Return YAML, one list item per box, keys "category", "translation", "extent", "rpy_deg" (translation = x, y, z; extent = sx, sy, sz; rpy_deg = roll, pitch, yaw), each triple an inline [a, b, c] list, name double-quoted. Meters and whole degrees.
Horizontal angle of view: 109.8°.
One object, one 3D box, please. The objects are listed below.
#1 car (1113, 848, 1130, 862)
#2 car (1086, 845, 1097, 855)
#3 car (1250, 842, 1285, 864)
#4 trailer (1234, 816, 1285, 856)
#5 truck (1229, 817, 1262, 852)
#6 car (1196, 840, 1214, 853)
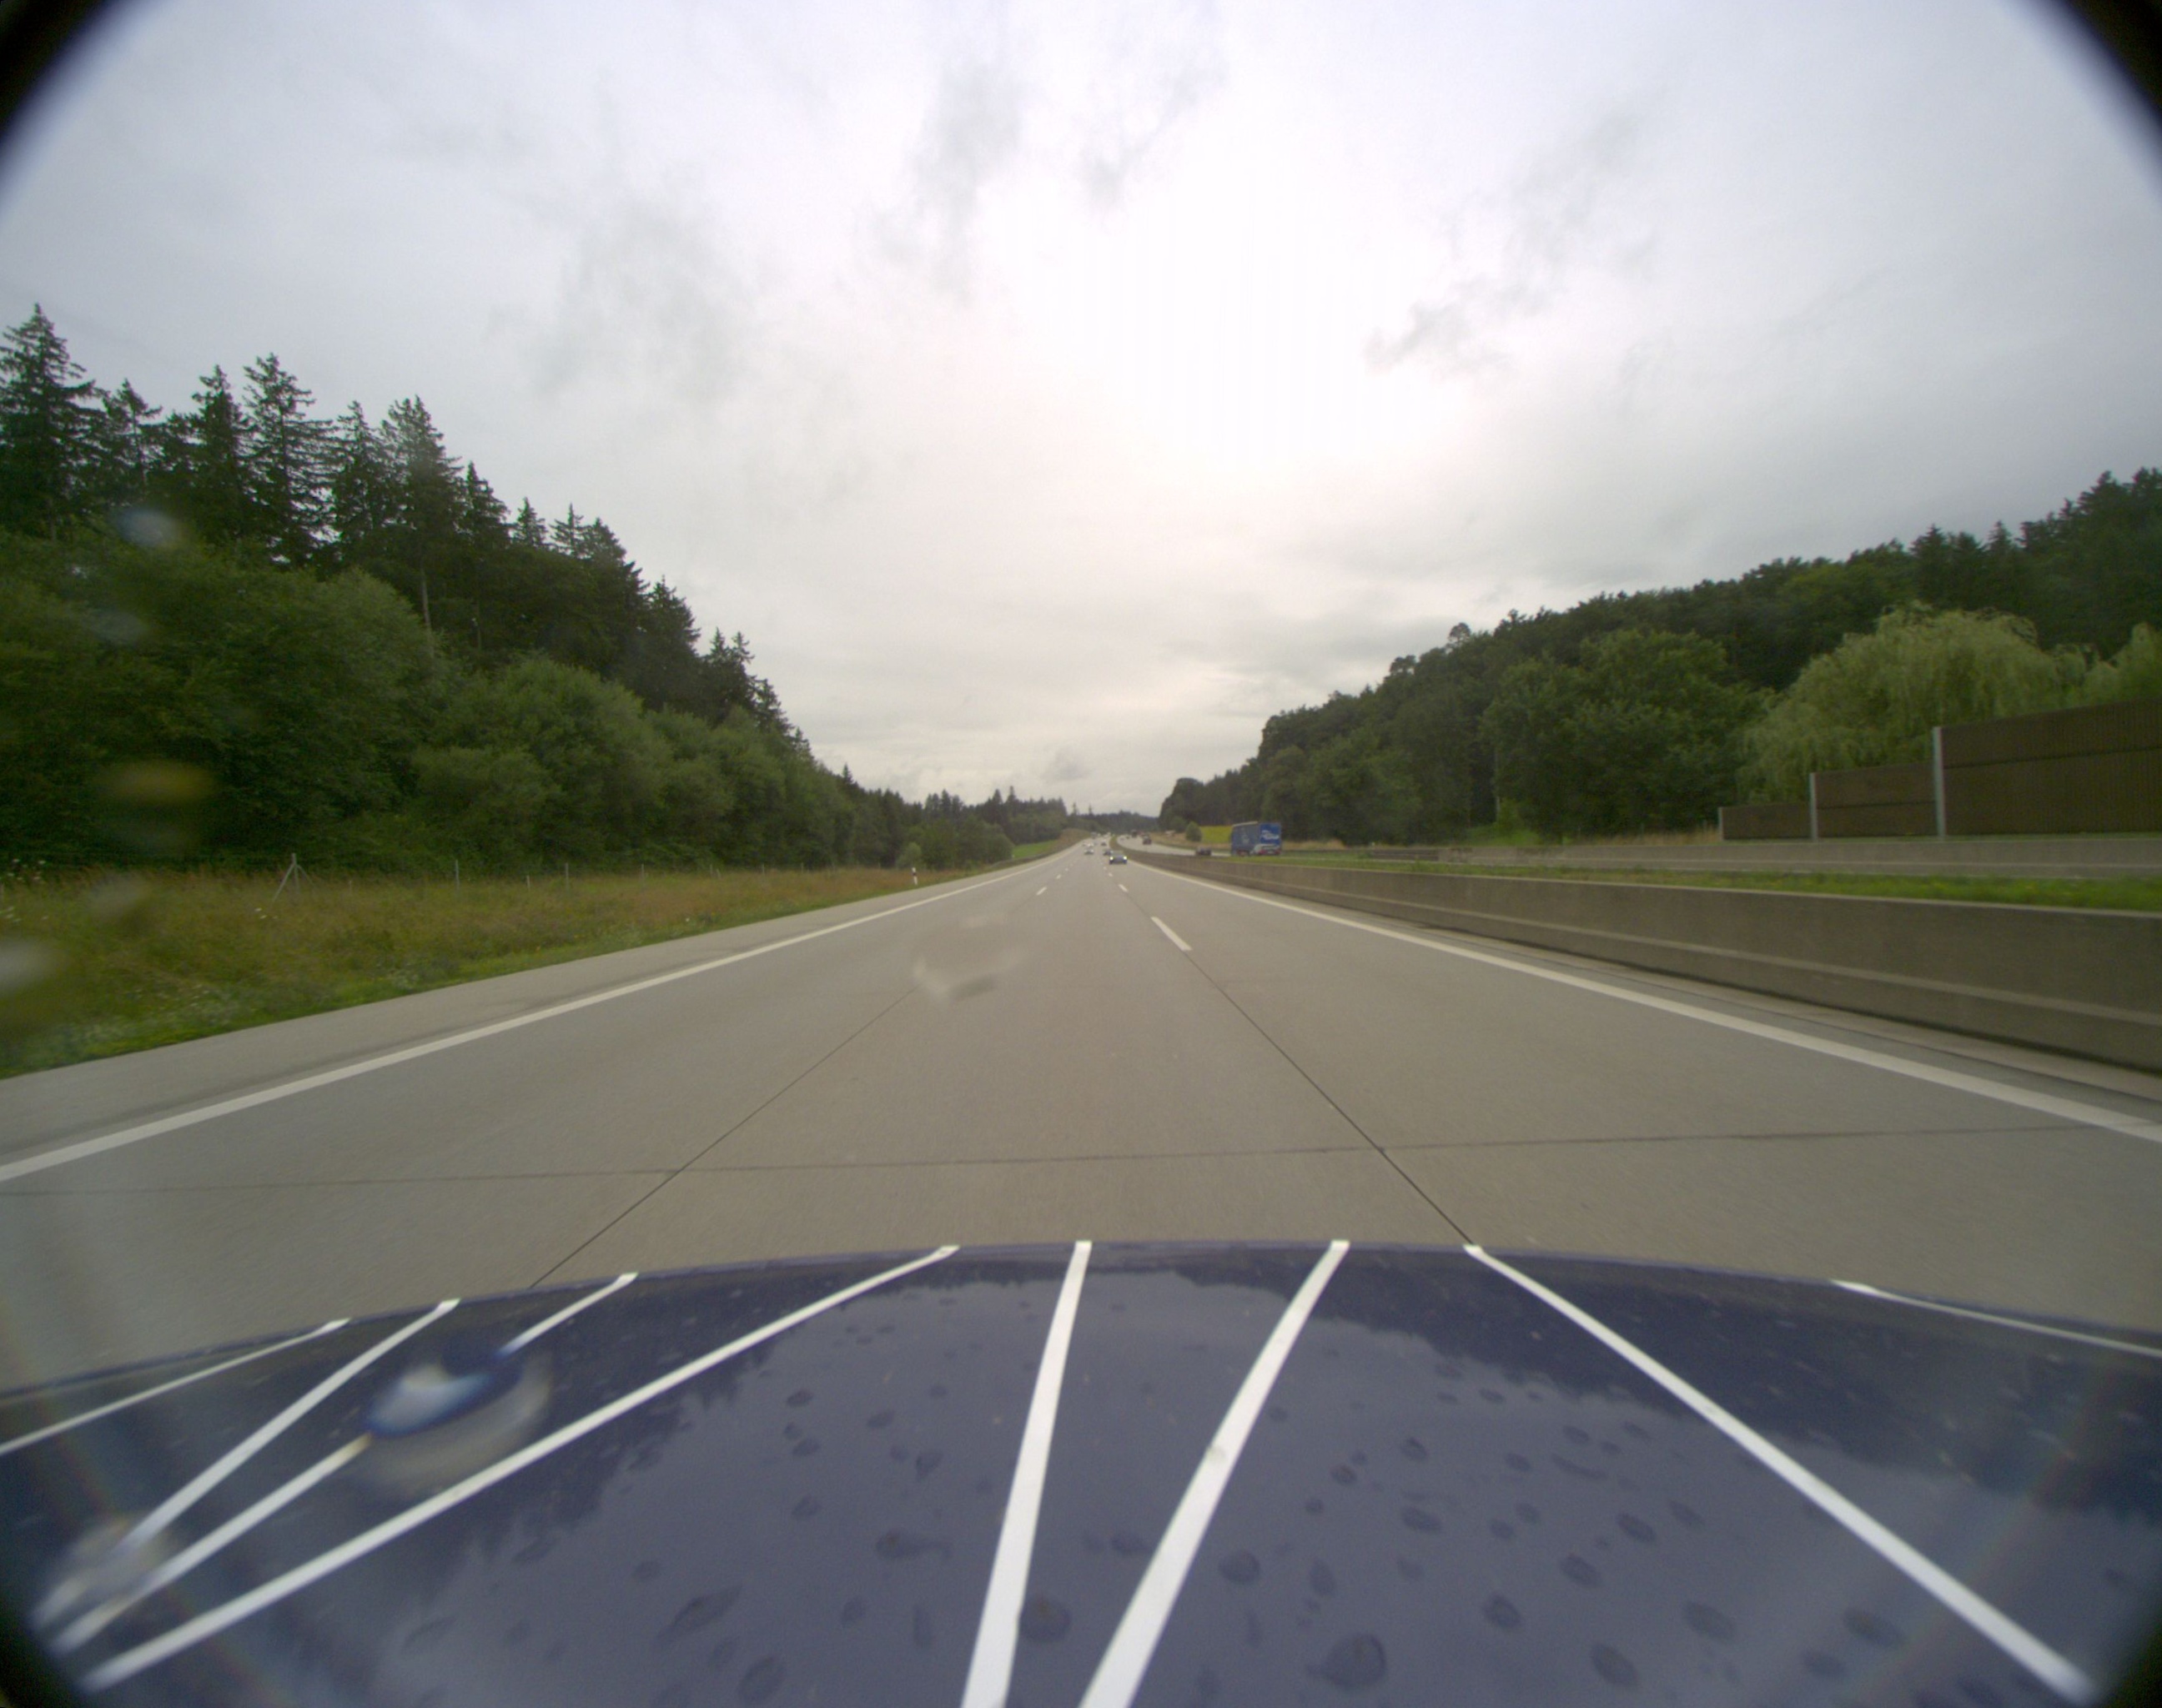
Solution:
- category: "car"
  translation: [4.521, 0.105, 85.021]
  extent: [1.766, 1.456, 3.999]
  rpy_deg: [-2, 2, 2]
- category: "car"
  translation: [2.249, -0.940, 164.764]
  extent: [2.213, 2.002, 4.833]
  rpy_deg: [-3, 1, 1]
- category: "car"
  translation: [16.118, -0.128, 66.004]
  extent: [1.821, 1.757, 4.731]
  rpy_deg: [-3, 1, 0]
- category: "trailer"
  translation: [20.565, -2.225, 88.694]
  extent: [2.717, 4.185, 13.788]
  rpy_deg: [-3, 2, 1]
- category: "truck"
  translation: [20.628, -2.436, 95.603]
  extent: [2.698, 4.165, 6.208]
  rpy_deg: [-3, 2, 1]
- category: "car"
  translation: [16.550, -1.039, 101.414]
  extent: [1.641, 1.492, 4.516]
  rpy_deg: [-3, 2, -1]
